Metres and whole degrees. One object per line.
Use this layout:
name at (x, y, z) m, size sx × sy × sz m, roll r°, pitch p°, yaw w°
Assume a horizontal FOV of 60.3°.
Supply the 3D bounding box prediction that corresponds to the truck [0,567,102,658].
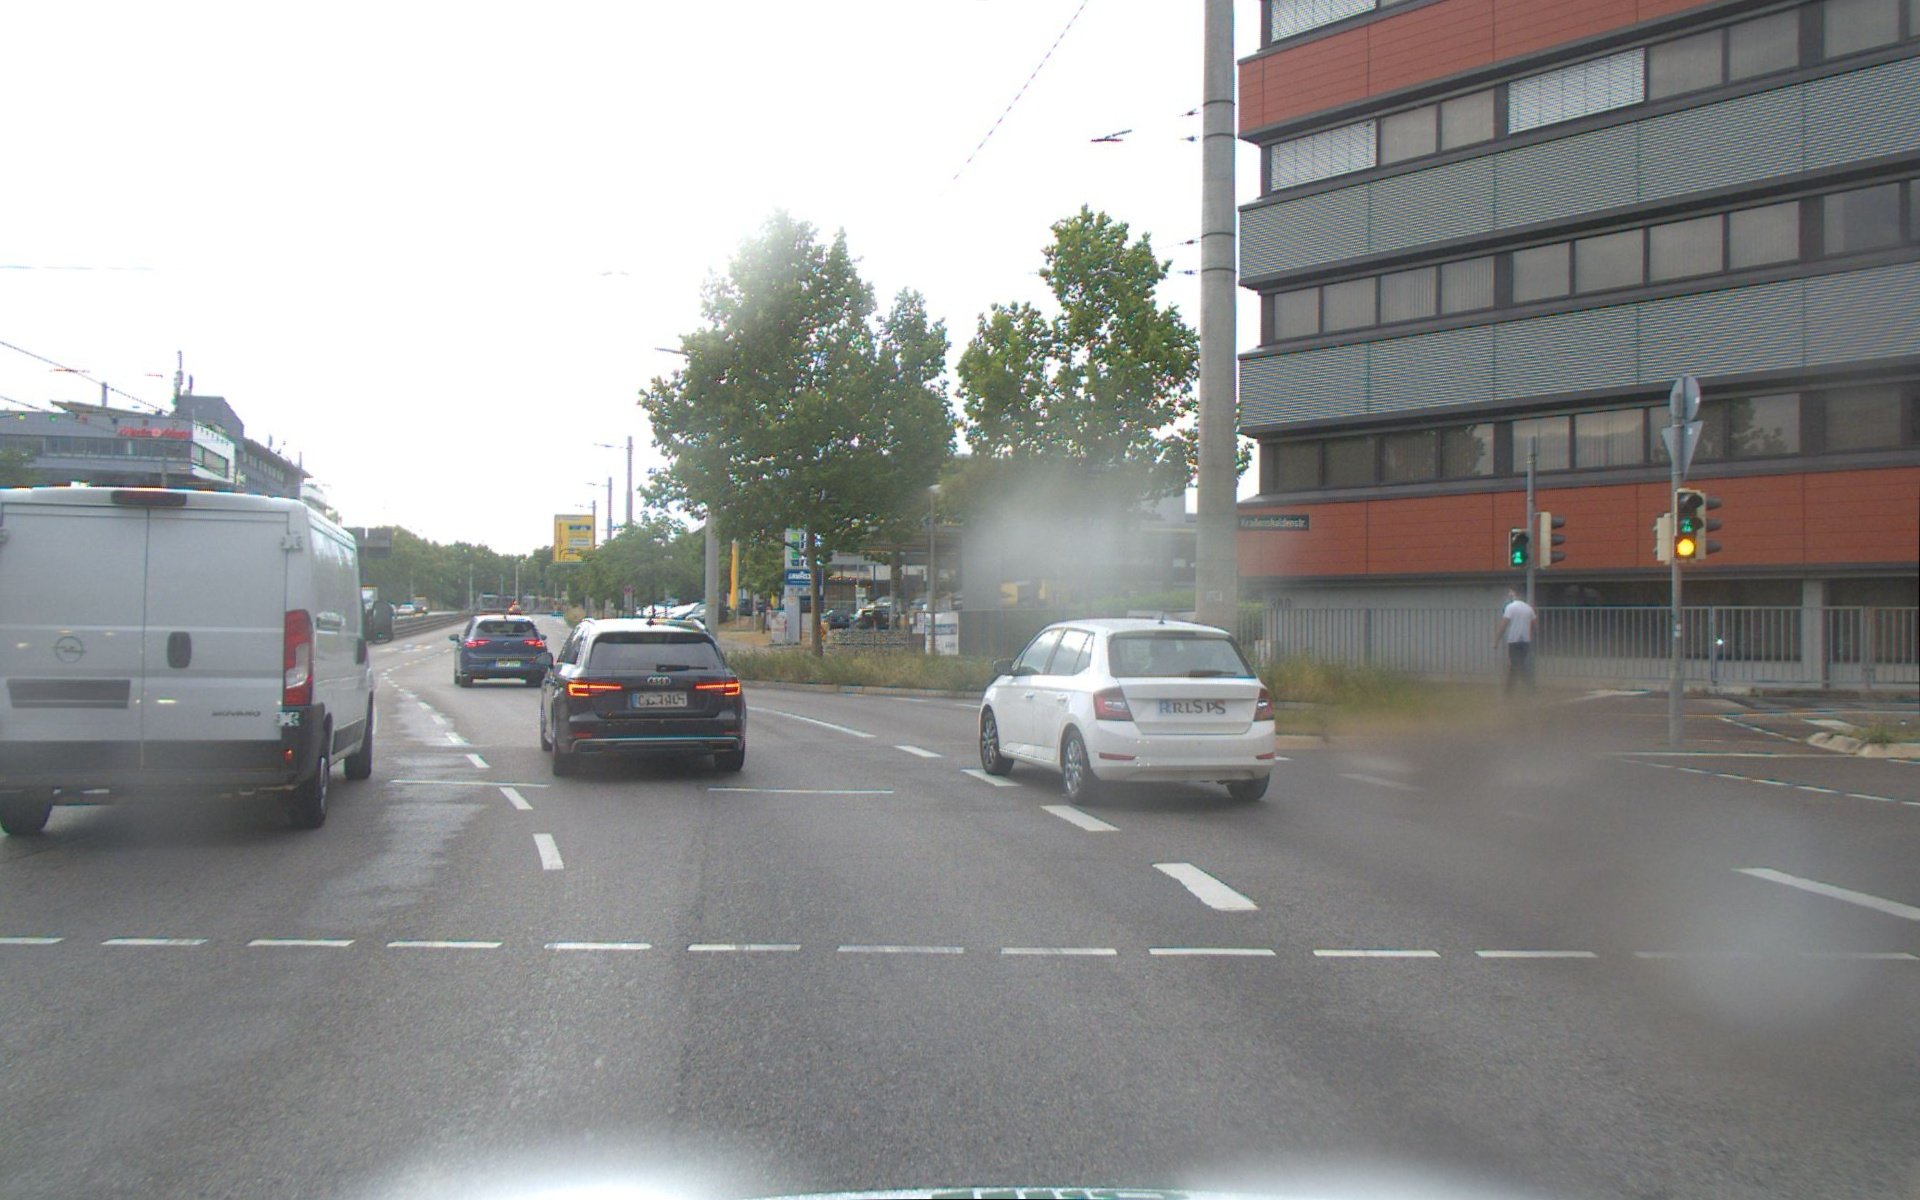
truck at (-40.630, 0.603, 73.783) m, size 2.696 × 3.872 × 5.397 m, roll -1°, pitch -1°, yaw -11°

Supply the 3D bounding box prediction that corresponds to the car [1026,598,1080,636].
car at (5.330, 0.968, 95.425) m, size 1.841 × 2.049 × 3.754 m, roll 3°, pitch -2°, yaw -18°

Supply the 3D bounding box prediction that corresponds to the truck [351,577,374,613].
truck at (-64.965, -0.491, 179.803) m, size 2.127 × 3.709 × 6.832 m, roll 3°, pitch -2°, yaw -20°

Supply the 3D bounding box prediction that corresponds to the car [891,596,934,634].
car at (-2.667, 0.852, 92.312) m, size 1.650 × 2.049 × 3.529 m, roll 3°, pitch -2°, yaw -13°

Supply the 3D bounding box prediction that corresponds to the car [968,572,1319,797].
car at (1.438, 0.699, 14.572) m, size 1.798 × 1.685 × 3.985 m, roll 2°, pitch -2°, yaw -14°

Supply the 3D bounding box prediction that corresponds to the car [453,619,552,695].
car at (-9.592, 1.188, 34.806) m, size 1.862 × 1.491 × 3.893 m, roll 1°, pitch -2°, yaw -15°

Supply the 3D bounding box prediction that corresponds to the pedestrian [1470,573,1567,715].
pedestrian at (8.731, 0.664, 25.910) m, size 1.119 × 2.163 × 1.223 m, roll 0°, pitch 1°, yaw 2°

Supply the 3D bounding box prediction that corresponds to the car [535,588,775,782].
car at (-3.131, 0.739, 16.358) m, size 1.961 × 1.666 × 3.982 m, roll 0°, pitch 0°, yaw -16°

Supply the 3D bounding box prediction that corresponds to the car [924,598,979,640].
car at (-0.447, 0.934, 83.484) m, size 1.959 × 2.068 × 3.987 m, roll 0°, pitch -1°, yaw -13°

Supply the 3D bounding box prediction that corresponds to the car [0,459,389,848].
car at (-5.747, 0.357, 12.480) m, size 2.405 × 2.334 × 4.883 m, roll 0°, pitch -1°, yaw -16°

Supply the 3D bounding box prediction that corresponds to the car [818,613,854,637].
car at (-8.636, 1.742, 115.033) m, size 1.762 × 1.619 × 3.984 m, roll 0°, pitch -1°, yaw -15°
